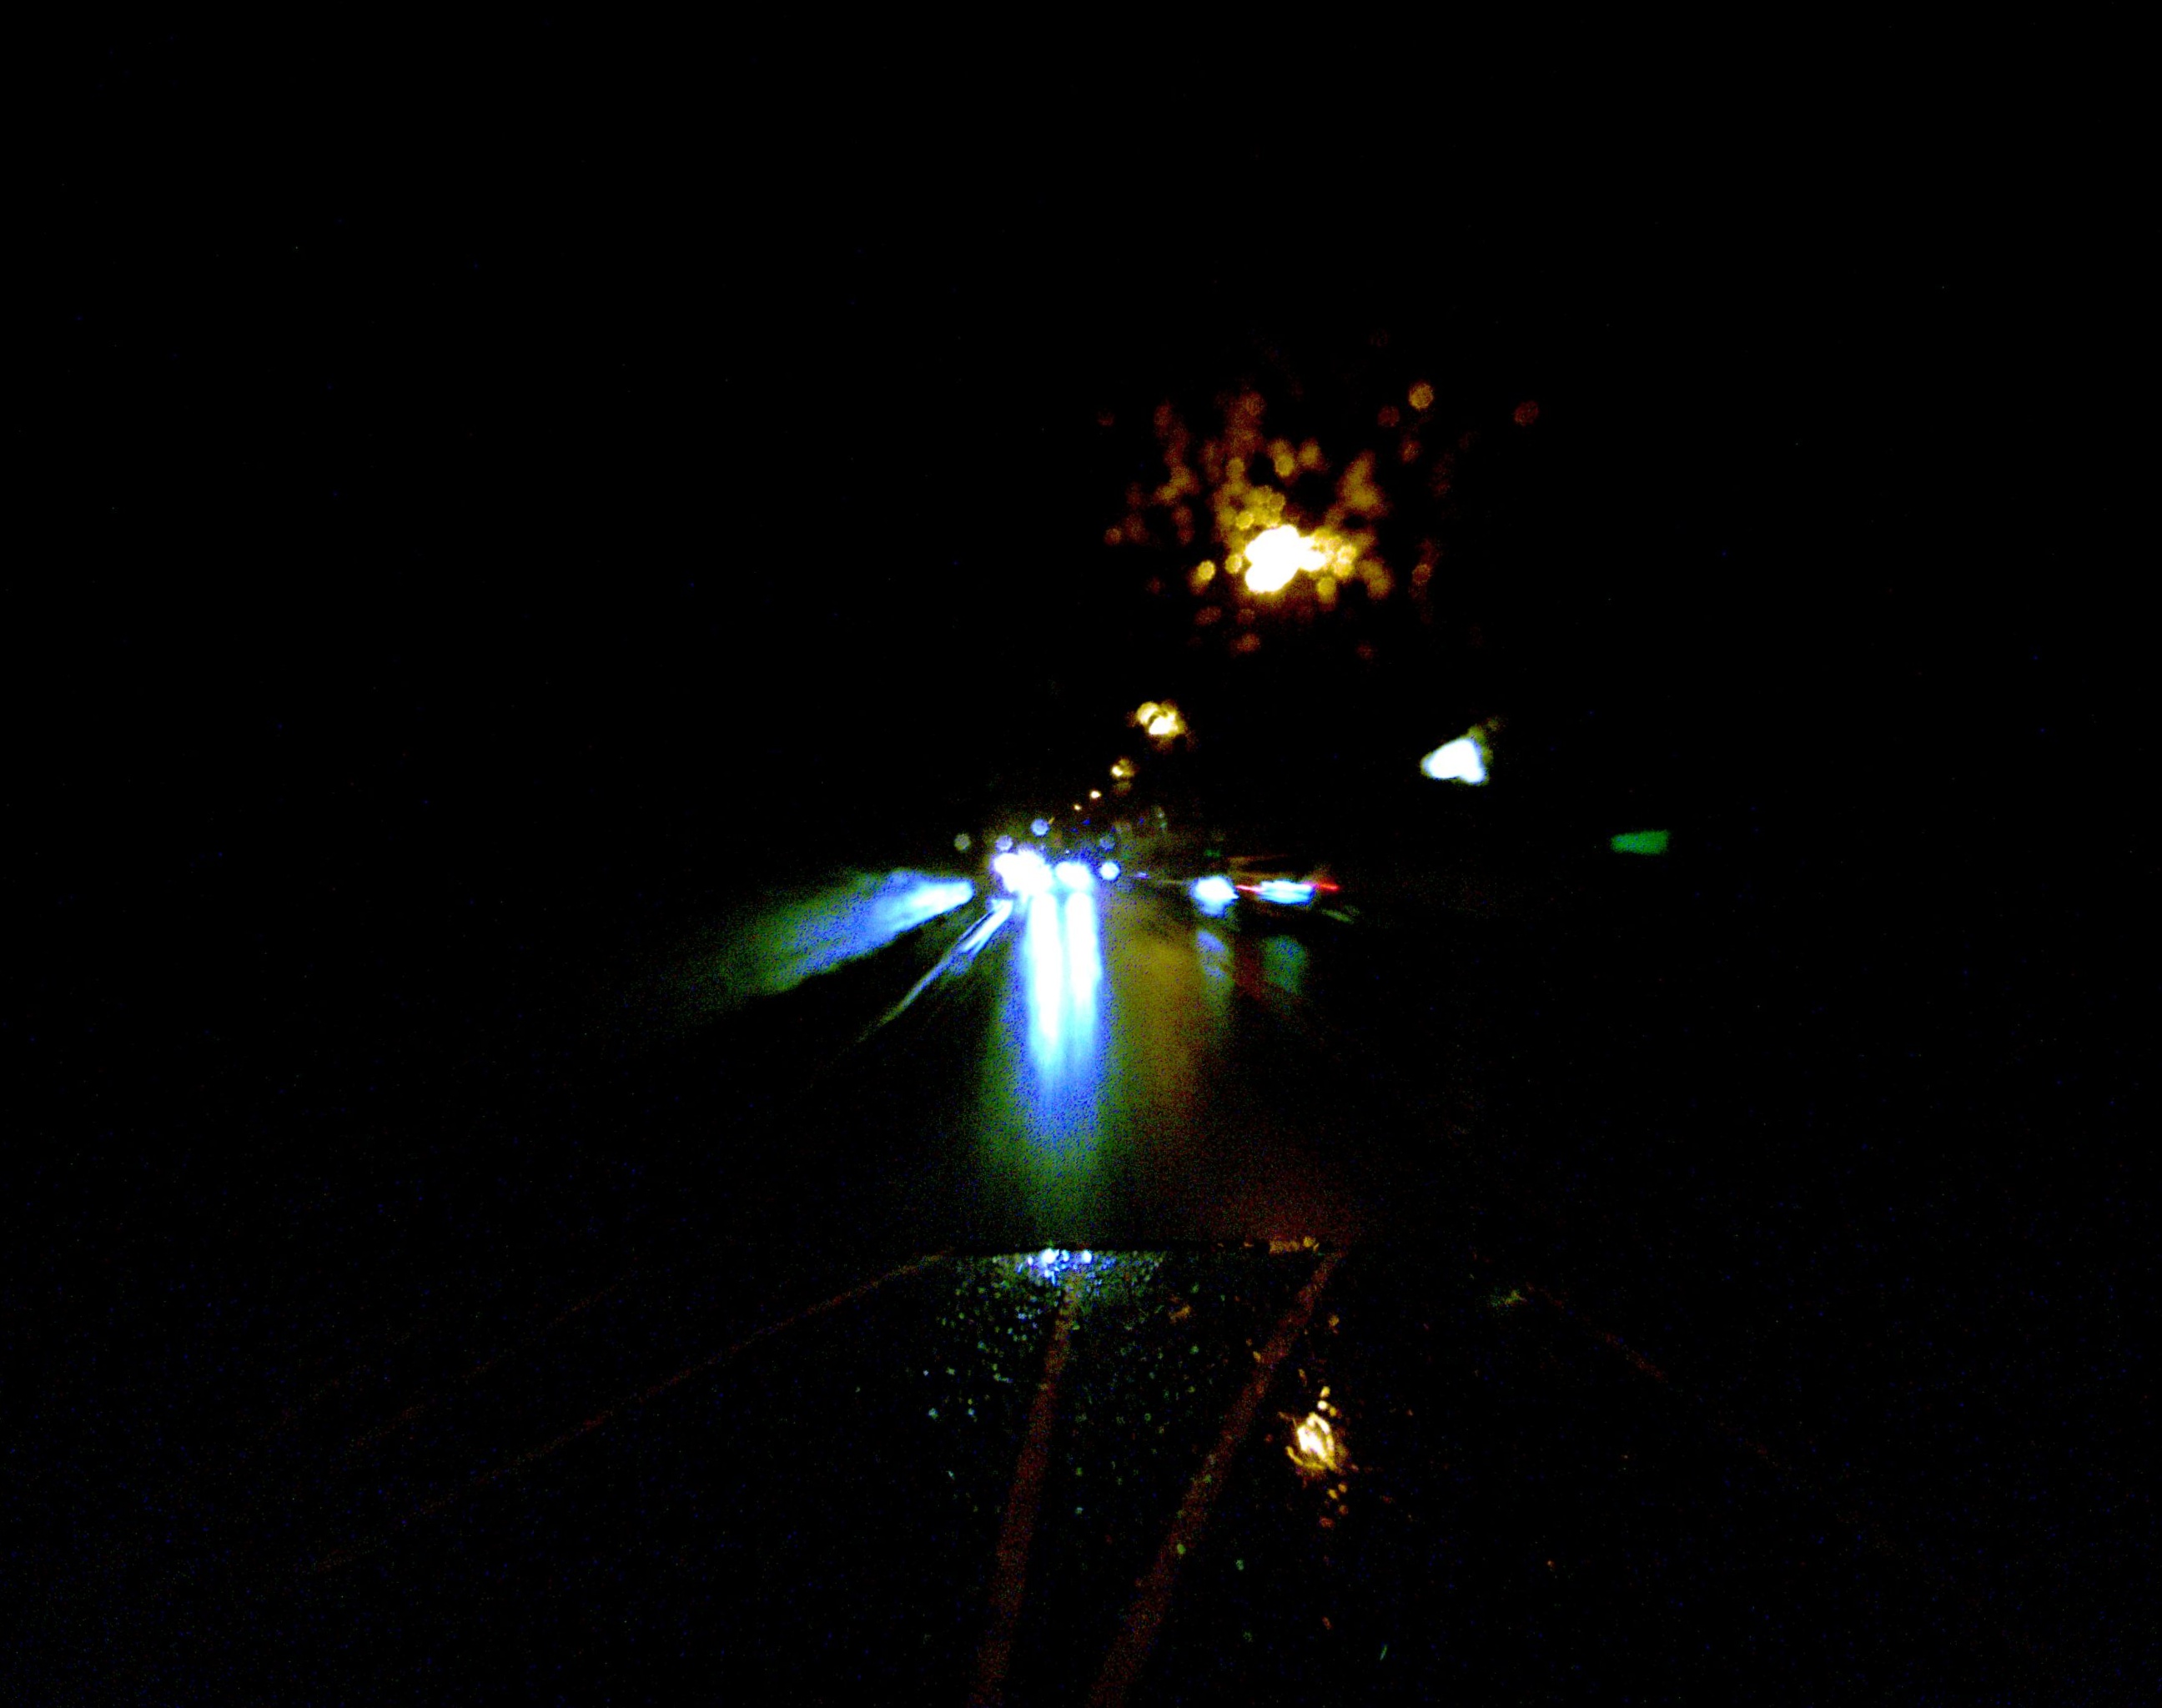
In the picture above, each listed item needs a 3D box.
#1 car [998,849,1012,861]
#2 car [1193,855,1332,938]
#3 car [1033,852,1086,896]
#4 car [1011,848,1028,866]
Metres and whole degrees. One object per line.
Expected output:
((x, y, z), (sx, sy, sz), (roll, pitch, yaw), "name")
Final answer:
((-11.117, 0.139, 110.949), (1.710, 1.762, 3.996), (-1, 1, -10), "car")
((3.550, 0.751, 15.731), (1.717, 1.370, 4.585), (-3, 0, 0), "car")
((-0.986, 0.773, 32.223), (1.999, 1.585, 4.606), (-3, 1, -4), "car")
((-7.167, 0.348, 89.426), (1.899, 2.002, 3.998), (-1, 1, -4), "car")
